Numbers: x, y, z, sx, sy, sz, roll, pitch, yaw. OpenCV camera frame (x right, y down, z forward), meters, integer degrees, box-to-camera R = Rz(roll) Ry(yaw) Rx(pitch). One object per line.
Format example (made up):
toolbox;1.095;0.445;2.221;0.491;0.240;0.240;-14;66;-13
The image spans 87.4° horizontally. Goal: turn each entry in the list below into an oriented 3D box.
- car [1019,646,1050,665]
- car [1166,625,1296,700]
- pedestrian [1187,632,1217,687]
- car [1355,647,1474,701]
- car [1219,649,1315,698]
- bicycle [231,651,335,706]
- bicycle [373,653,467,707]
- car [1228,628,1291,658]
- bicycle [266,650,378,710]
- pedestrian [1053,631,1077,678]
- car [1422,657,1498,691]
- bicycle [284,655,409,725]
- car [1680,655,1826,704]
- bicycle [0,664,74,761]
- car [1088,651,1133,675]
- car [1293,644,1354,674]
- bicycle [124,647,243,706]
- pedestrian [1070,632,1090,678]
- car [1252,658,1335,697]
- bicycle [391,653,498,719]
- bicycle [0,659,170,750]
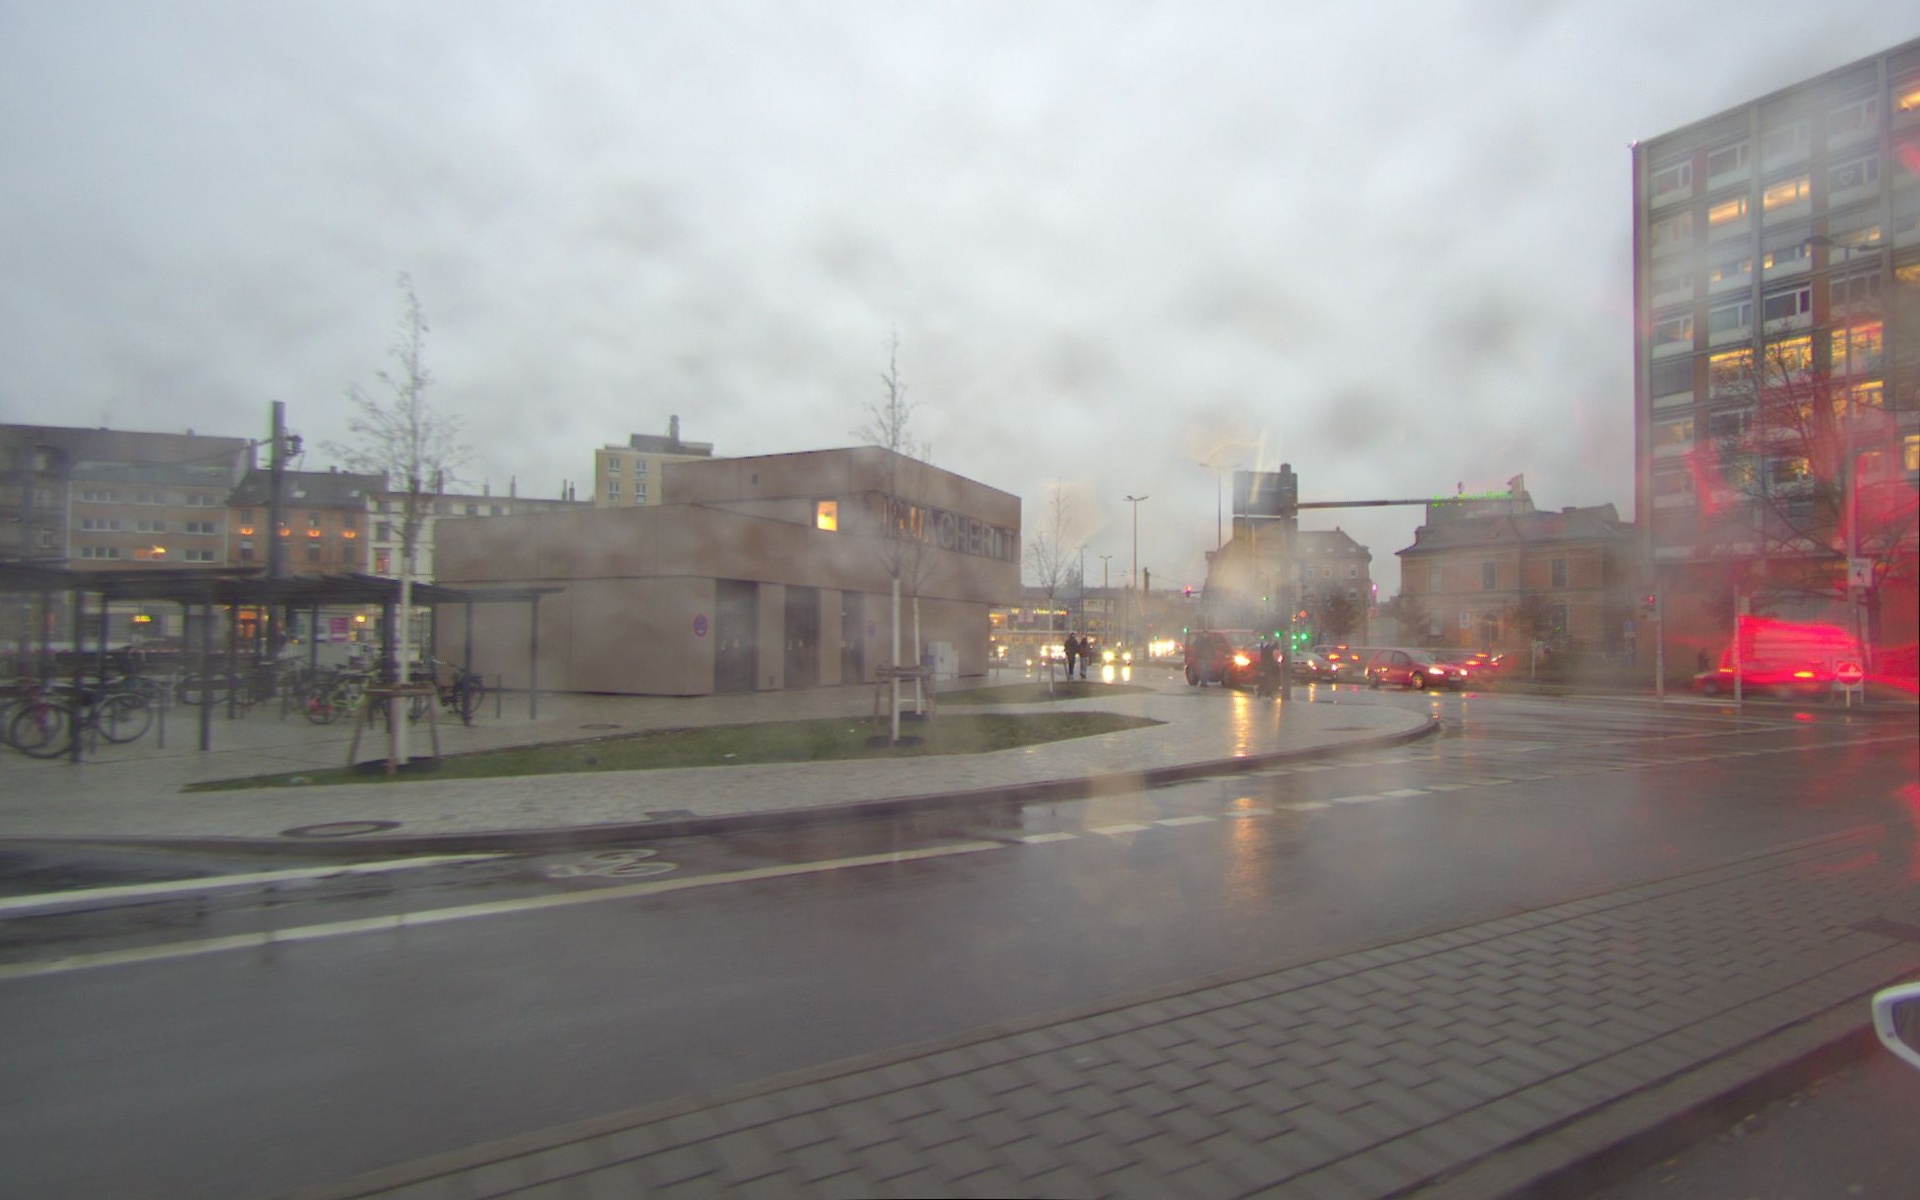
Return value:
car;6.640;4.969;89.886;1.578;1.468;3.637;3;-1;-16
car;9.331;2.113;35.153;2.220;2.311;5.025;3;-1;-13
pedestrian;7.729;1.891;32.080;0.781;1.719;0.461;3;-1;-7
car;16.700;2.677;37.105;1.731;1.706;4.069;3;-1;-16
car;12.481;2.948;41.079;1.732;1.706;4.063;3;-1;-18
bicycle;-15.542;1.779;23.114;0.540;1.180;1.895;2;-2;30
bicycle;-12.586;1.836;23.483;0.540;1.180;1.895;2;-2;30
car;21.279;3.023;71.585;1.966;1.938;5.157;1;-1;-14
bicycle;-13.332;1.656;21.048;0.540;1.180;1.895;2;-2;30
pedestrian;4.208;2.190;40.381;0.670;1.839;0.692;3;-1;-16
car;24.149;3.540;48.615;1.444;1.416;3.412;2;-1;-14
bicycle;-11.209;1.624;18.422;0.540;1.180;1.895;2;-2;30
car;27.425;2.728;34.882;1.540;1.416;3.788;3;-1;-17
bicycle;-12.414;1.419;12.554;0.540;1.180;1.895;2;-2;30
car;10.373;4.335;69.533;1.579;1.466;3.635;3;-1;-17
car;21.317;3.443;59.052;1.445;1.505;3.918;3;-1;-14
bicycle;-16.522;1.611;21.427;0.540;1.180;1.895;2;-2;30
pedestrian;4.832;2.202;40.473;0.576;1.795;0.610;3;-1;-16
car;14.835;3.430;44.843;1.578;1.468;3.827;3;-1;-16
bicycle;-10.058;1.656;19.687;0.540;1.180;1.898;2;-2;24
bicycle;-12.598;1.452;14.394;0.540;1.180;1.895;2;-2;30
